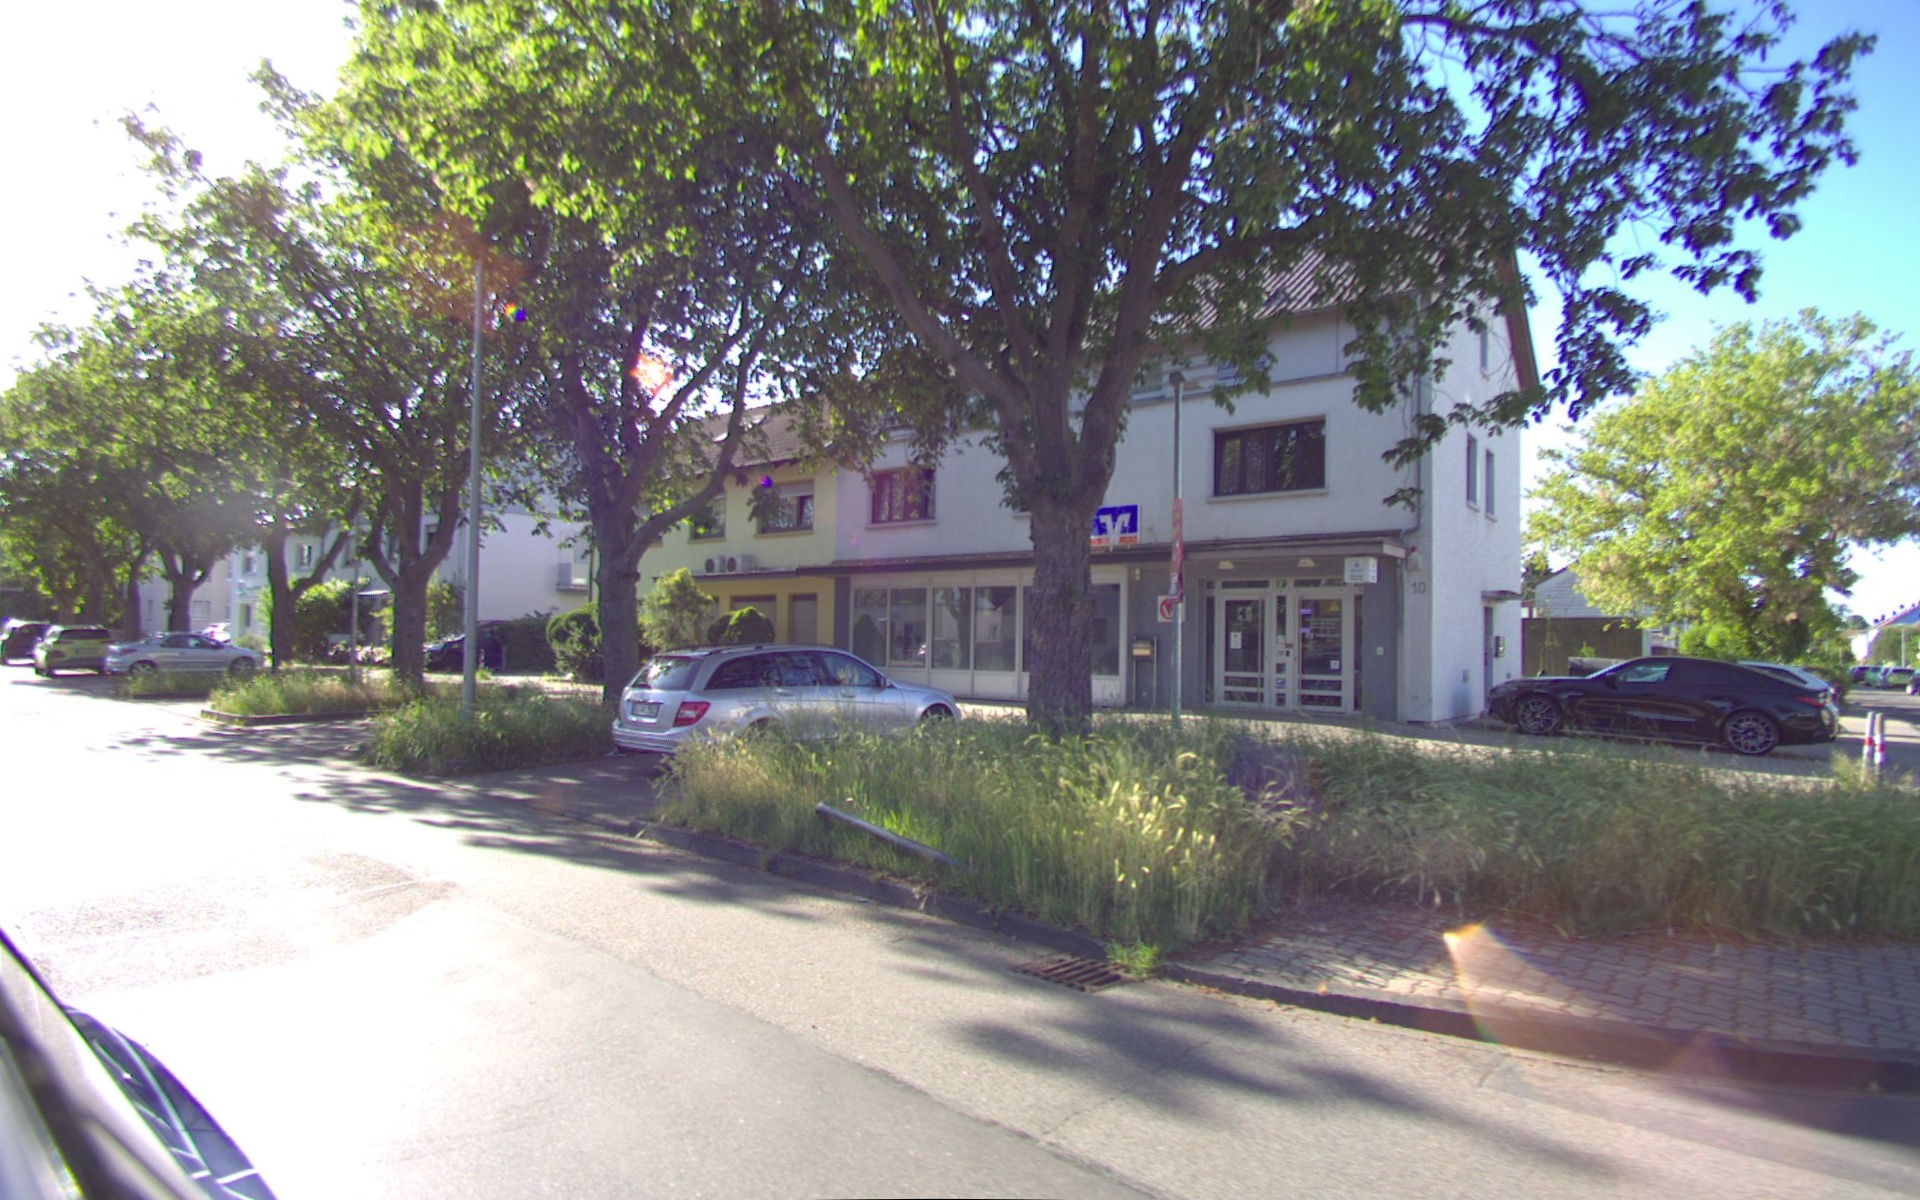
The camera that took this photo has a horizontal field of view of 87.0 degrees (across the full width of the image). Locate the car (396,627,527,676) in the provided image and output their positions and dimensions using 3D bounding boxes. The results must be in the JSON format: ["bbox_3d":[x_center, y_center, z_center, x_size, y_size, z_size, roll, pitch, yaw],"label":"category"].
[{"bbox_3d":[-17.604,1.825,35.842,1.692,1.577,3.722,-1,-4,44],"label":"car"}]

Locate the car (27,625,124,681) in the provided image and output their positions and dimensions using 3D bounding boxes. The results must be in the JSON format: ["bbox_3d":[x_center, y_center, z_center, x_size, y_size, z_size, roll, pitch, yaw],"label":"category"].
[{"bbox_3d":[-27.706,1.612,31.668,3.695,1.551,1.972,-1,0,43],"label":"car"}]

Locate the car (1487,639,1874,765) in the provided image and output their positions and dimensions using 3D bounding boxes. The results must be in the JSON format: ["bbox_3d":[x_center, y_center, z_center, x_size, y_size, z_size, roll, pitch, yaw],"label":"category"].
[{"bbox_3d":[11.576,1.549,16.631,4.901,1.575,1.975,1,-2,37],"label":"car"}]

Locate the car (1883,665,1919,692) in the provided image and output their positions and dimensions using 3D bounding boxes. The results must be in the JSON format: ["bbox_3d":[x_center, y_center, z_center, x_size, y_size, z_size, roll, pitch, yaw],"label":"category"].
[{"bbox_3d":[57.900,4.784,61.812,1.999,1.593,4.843,-1,-4,40],"label":"car"}]

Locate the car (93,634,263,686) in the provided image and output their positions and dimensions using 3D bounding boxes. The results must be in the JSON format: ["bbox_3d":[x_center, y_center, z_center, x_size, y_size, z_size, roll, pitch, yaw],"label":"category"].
[{"bbox_3d":[-22.947,1.717,29.797,1.621,1.333,3.652,-1,-1,35],"label":"car"}]

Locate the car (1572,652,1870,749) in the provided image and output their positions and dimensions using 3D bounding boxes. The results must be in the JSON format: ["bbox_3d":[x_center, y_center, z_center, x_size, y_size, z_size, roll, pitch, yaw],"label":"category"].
[{"bbox_3d":[15.357,1.964,20.722,4.661,1.539,1.855,1,-2,37],"label":"car"}]

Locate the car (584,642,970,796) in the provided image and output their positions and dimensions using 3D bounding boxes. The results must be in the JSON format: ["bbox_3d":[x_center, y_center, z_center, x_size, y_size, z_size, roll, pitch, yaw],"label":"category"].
[{"bbox_3d":[-2.022,1.261,12.271,1.999,1.427,4.336,-1,-2,40],"label":"car"}]

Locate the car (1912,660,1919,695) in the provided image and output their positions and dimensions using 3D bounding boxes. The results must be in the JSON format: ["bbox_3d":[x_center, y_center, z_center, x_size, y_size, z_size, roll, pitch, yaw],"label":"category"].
[{"bbox_3d":[49.757,3.962,51.234,1.999,1.593,4.843,1,-1,40],"label":"car"}]

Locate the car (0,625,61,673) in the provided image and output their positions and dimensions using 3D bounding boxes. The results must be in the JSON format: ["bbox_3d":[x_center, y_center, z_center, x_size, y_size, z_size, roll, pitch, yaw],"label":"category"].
[{"bbox_3d":[-36.221,1.865,39.110,4.056,1.746,1.791,-2,-4,44],"label":"car"}]

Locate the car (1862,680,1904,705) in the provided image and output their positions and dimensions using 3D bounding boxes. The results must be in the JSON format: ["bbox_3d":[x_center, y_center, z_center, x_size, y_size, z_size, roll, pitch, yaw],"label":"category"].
[{"bbox_3d":[66.381,6.627,72.871,1.999,1.593,4.843,-2,-4,40],"label":"car"}]
